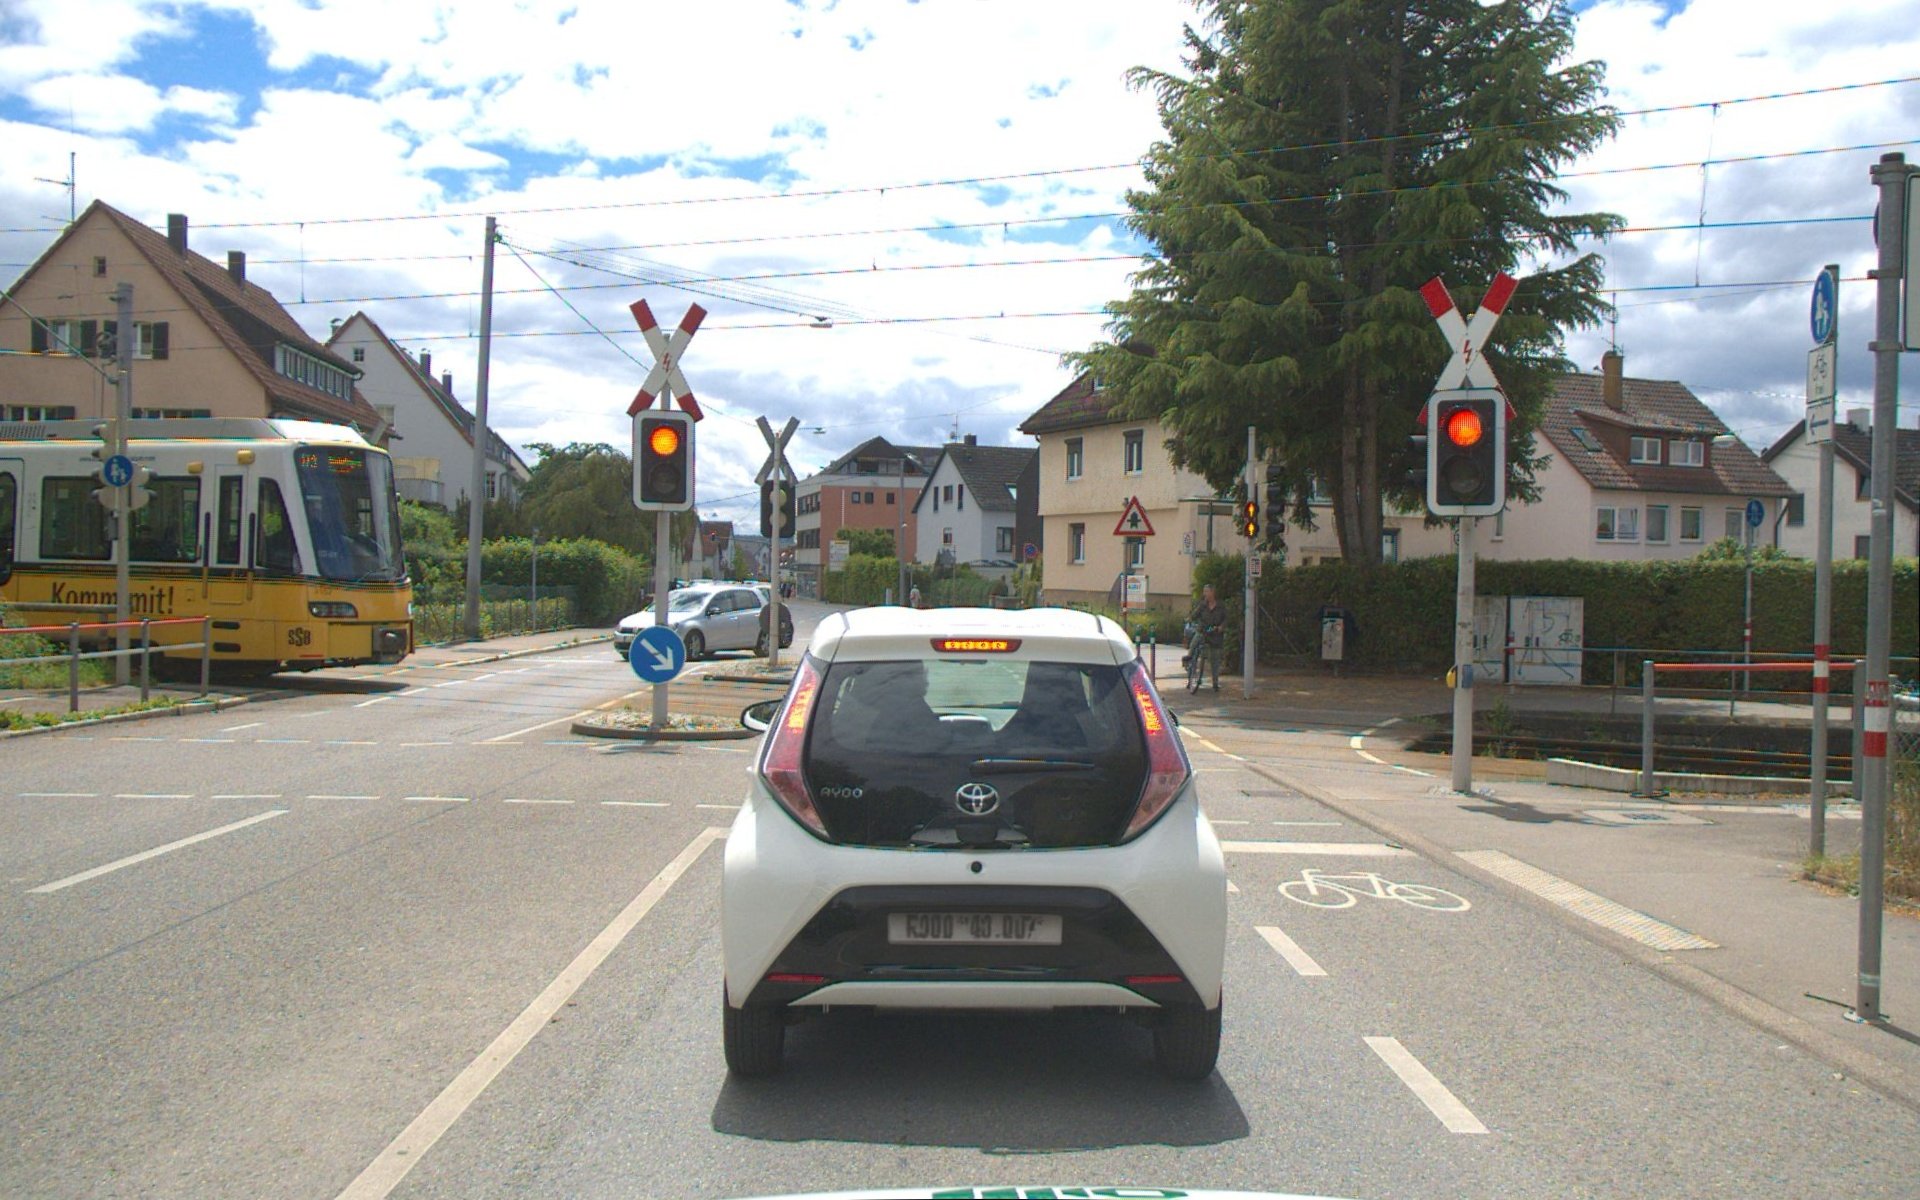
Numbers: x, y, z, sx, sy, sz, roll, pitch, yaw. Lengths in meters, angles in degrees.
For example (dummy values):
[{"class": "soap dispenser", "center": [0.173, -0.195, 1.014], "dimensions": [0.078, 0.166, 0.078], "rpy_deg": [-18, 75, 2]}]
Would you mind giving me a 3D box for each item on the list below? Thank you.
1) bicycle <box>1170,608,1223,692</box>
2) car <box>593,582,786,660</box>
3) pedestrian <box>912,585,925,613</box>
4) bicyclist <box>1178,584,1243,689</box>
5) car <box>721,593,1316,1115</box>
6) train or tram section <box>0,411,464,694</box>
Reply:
[{"class": "bicycle", "center": [3.732, 0.774, 26.192], "dimensions": [0.448, 1.192, 1.477], "rpy_deg": [-2, 3, -6]}, {"class": "car", "center": [-5.543, 0.423, 34.381], "dimensions": [1.868, 1.466, 4.093], "rpy_deg": [2, 0, 27]}, {"class": "pedestrian", "center": [-2.371, -0.052, 94.842], "dimensions": [0.711, 1.604, 0.803], "rpy_deg": [2, 0, -1]}, {"class": "bicyclist", "center": [3.962, 0.567, 26.172], "dimensions": [0.825, 1.580, 0.755], "rpy_deg": [-2, 3, -7]}, {"class": "car", "center": [0.051, 0.720, 6.573], "dimensions": [1.687, 1.467, 3.705], "rpy_deg": [1, 0, -4]}, {"class": "train or tram section", "center": [-16.614, -0.898, 26.929], "dimensions": [18.670, 3.769, 2.919], "rpy_deg": [2, 1, 22]}]
